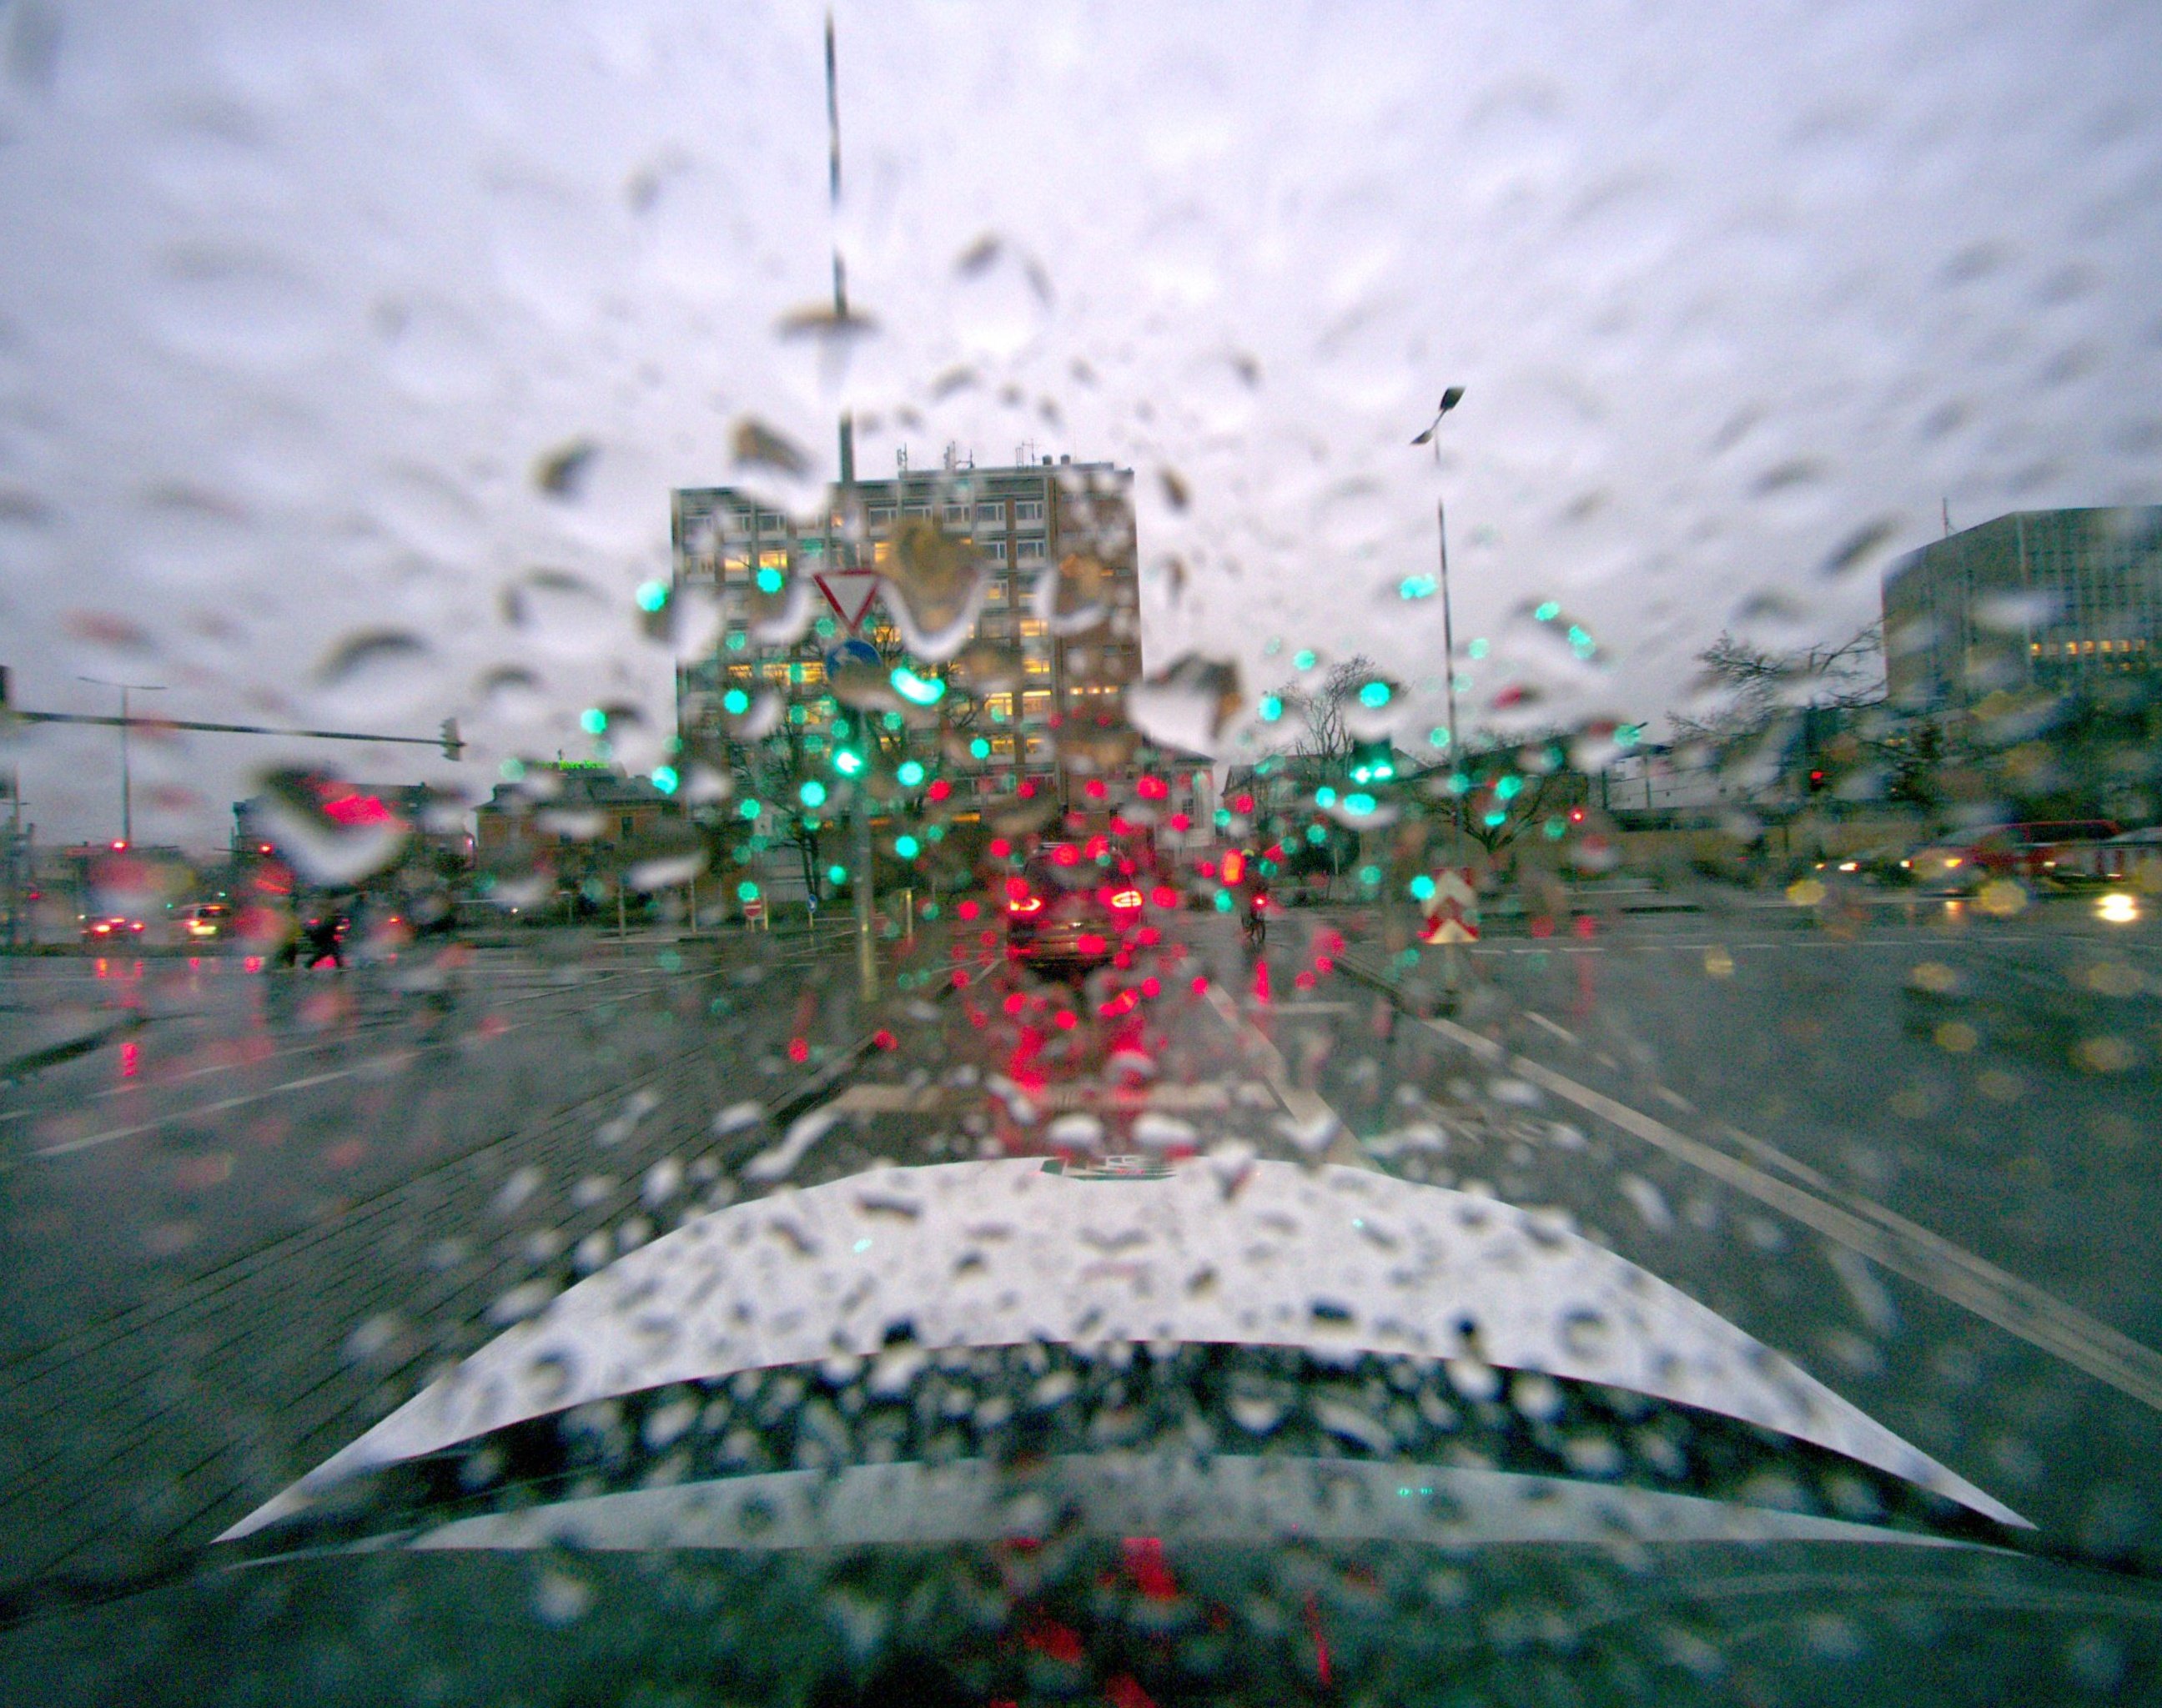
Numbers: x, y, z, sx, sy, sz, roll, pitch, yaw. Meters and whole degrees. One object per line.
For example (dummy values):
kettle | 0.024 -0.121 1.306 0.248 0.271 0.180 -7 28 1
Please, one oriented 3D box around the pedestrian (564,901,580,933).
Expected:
pedestrian | -32.239 3.970 51.565 0.814 1.930 0.751 0 -1 -37

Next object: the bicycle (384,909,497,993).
bicycle | -10.668 1.579 13.649 0.622 1.176 1.866 -4 -1 -10

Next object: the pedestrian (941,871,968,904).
pedestrian | -6.766 1.785 43.610 1.057 1.687 0.814 -4 0 22

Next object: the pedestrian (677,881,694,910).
pedestrian | -24.204 2.543 49.784 0.724 1.688 0.751 -2 -1 -38

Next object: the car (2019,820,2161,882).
car | 27.319 -0.136 20.683 4.462 1.376 1.934 -3 0 5

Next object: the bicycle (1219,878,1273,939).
bicycle | 2.957 0.955 14.773 0.559 0.947 2.096 -3 0 2

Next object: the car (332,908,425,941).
car | -33.376 3.350 38.712 3.825 1.482 1.715 -3 -4 22

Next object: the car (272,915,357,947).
car | -39.248 3.938 41.684 4.070 1.404 1.673 -4 -3 23

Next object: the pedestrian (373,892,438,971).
pedestrian | -18.179 2.046 21.926 0.837 2.005 1.116 -1 -1 28

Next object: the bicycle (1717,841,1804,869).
bicycle | 29.082 0.058 34.905 2.879 1.015 0.796 -3 -1 5

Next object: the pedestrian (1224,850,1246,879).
pedestrian | 9.260 0.614 49.105 0.901 1.687 0.933 -1 1 45

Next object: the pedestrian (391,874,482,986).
pedestrian | -10.660 1.221 13.512 0.715 1.734 0.978 -4 -1 -10

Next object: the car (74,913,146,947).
car | -56.355 4.426 47.252 3.949 1.772 1.902 -3 -2 28

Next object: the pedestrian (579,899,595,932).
pedestrian | -31.777 3.943 52.352 0.814 2.014 0.751 0 -1 -37

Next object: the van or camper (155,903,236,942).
van or camper | -53.027 4.095 48.759 4.923 2.110 2.222 -4 -3 29

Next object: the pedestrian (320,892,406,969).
pedestrian | -18.161 1.915 20.633 1.228 1.858 1.034 0 -1 -3

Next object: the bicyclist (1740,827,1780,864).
bicyclist | 29.103 -0.350 34.907 0.986 1.489 0.769 -4 -1 6

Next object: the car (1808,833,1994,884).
car | 28.508 0.163 28.429 4.435 1.486 1.777 -3 0 5

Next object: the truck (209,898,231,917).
truck | -132.342 8.237 125.196 2.012 2.691 5.051 -2 -1 -44

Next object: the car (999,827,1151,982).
car | -0.014 0.667 12.065 1.771 1.800 4.425 -2 -2 1

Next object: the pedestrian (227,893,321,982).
pedestrian | -18.020 1.836 18.219 1.067 1.858 1.031 0 -1 -11

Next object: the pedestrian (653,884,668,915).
pedestrian | -25.203 2.732 48.835 0.588 1.781 0.760 -4 0 -37

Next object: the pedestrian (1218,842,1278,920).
pedestrian | 3.005 0.473 14.729 0.871 1.316 0.848 -3 -1 1

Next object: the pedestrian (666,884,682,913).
pedestrian | -24.600 2.691 49.194 0.673 1.687 0.605 -4 2 -37

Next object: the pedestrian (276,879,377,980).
pedestrian | -16.133 1.575 17.442 1.024 2.050 1.221 -1 -1 18

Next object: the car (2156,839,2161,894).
car | 36.180 0.269 24.589 4.435 1.749 2.003 -3 0 5

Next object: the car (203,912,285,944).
car | -45.676 4.028 44.441 4.484 1.601 1.801 -4 -4 26

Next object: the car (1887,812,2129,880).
car | 28.697 -0.229 25.366 4.906 1.749 2.003 -3 0 5
